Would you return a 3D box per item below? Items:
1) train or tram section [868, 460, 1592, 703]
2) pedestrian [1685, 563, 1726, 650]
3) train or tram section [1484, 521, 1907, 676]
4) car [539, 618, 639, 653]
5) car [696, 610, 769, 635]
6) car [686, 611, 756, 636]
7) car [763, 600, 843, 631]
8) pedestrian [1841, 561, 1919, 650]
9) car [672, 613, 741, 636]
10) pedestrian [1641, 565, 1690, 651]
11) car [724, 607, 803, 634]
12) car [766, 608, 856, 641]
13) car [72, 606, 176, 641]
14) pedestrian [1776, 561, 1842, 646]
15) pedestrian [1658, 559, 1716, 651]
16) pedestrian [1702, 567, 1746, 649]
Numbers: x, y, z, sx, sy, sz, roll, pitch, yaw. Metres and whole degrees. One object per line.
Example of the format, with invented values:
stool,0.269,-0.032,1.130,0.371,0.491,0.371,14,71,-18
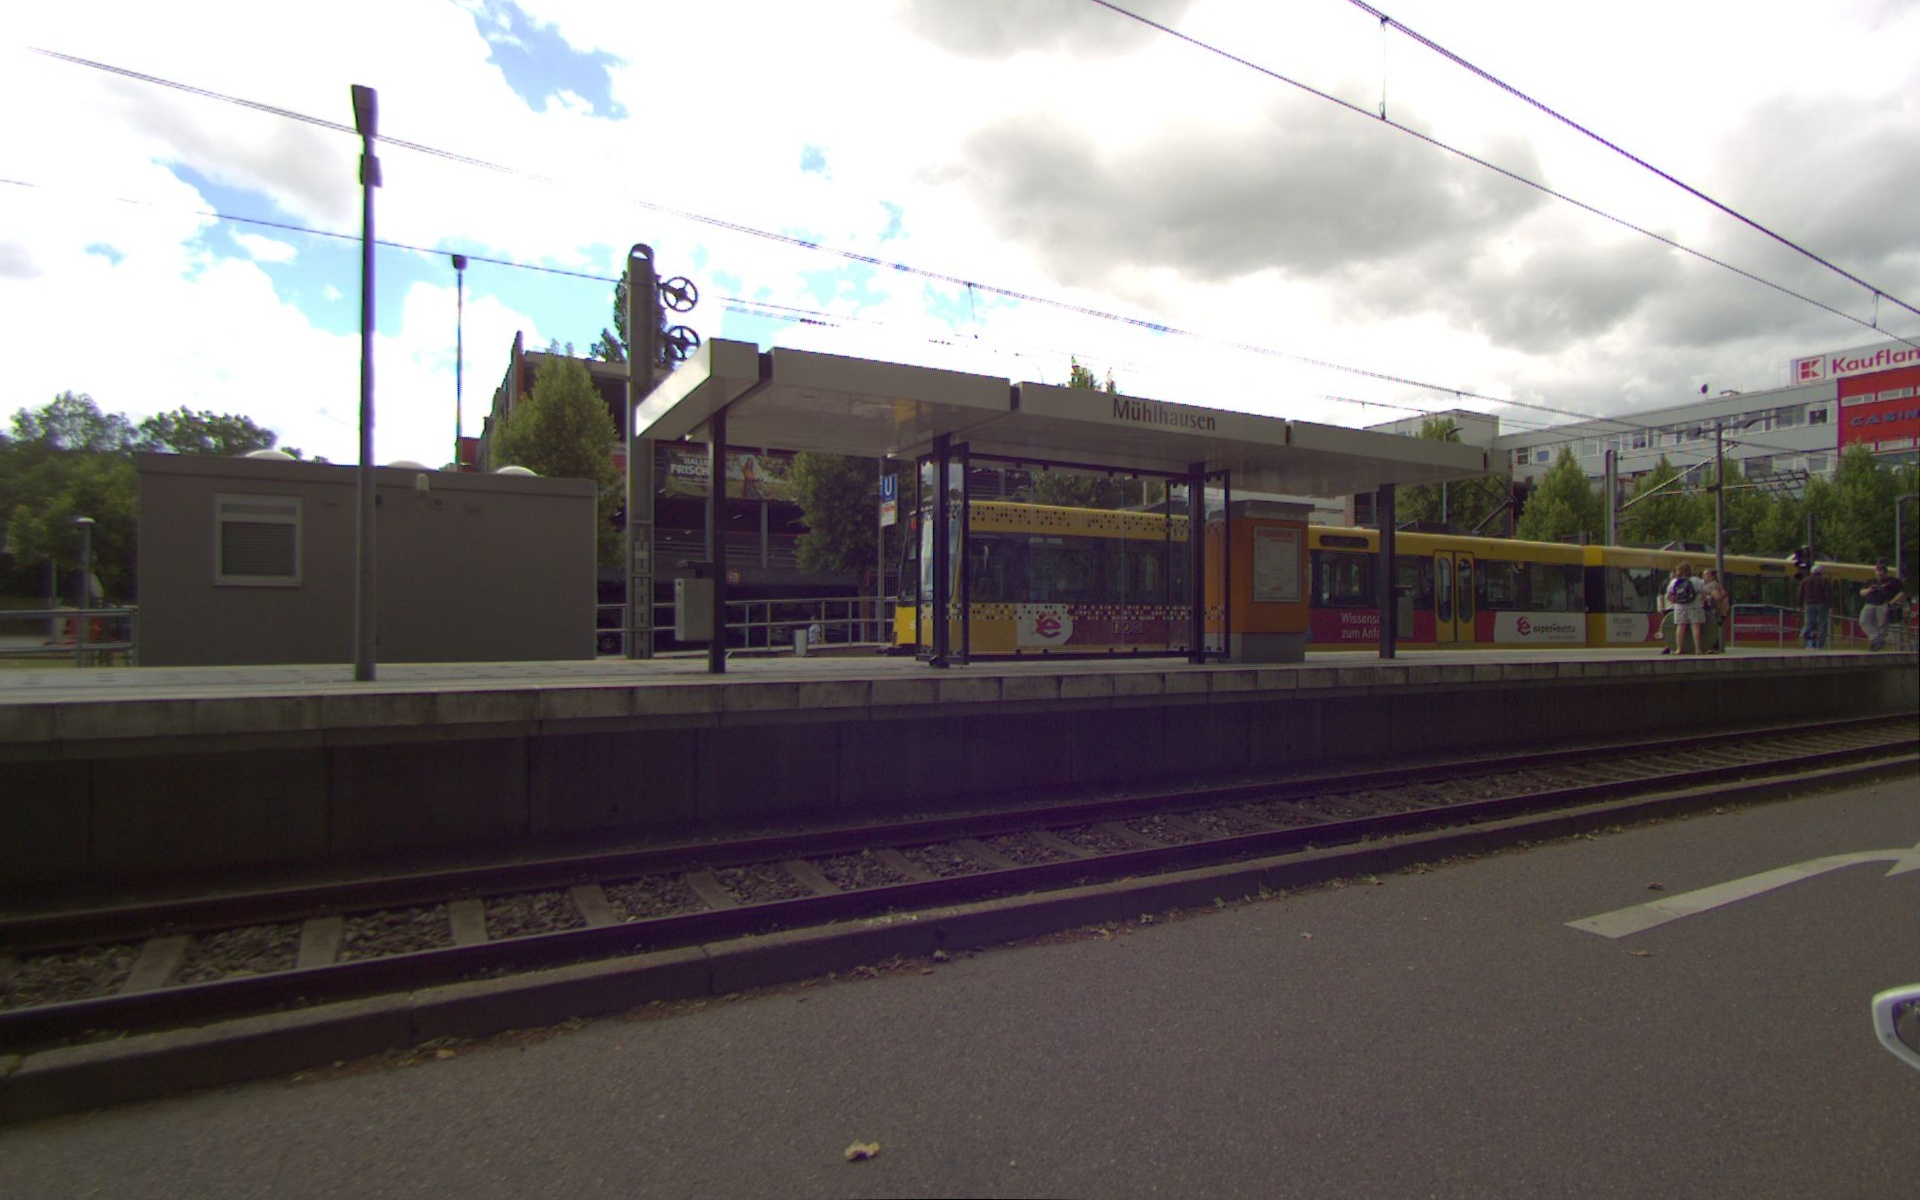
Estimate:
train or tram section,6.995,-0.088,21.856,18.401,3.933,2.746,1,-3,-29
pedestrian,12.962,0.116,17.460,0.632,1.484,0.359,1,-1,-31
train or tram section,23.137,0.224,30.708,18.400,3.878,2.746,1,-3,-29
car,-14.502,1.398,39.275,3.499,1.327,1.528,1,-3,-29
car,-13.544,1.362,59.873,3.915,1.476,1.760,1,-1,-30
car,-14.724,1.459,61.938,3.915,1.476,1.760,1,-1,-30
car,-8.189,0.838,52.452,3.818,1.490,1.589,1,-3,-30
pedestrian,17.951,0.125,19.581,0.858,1.700,0.746,-1,-2,14
car,-16.217,1.573,64.273,3.915,1.476,1.760,1,-1,-30
pedestrian,12.574,0.156,17.901,0.535,1.502,0.474,1,-2,-25
car,-10.849,1.152,55.574,3.954,1.476,1.814,1,-1,-31
car,-7.249,1.220,48.933,3.951,1.493,1.985,1,-3,-29
car,-45.014,1.299,54.208,4.013,1.775,1.900,1,-3,-31
pedestrian,17.429,0.084,20.624,0.781,1.700,0.768,1,-3,-30
pedestrian,12.111,0.096,16.755,0.570,1.502,0.521,-1,-2,8
pedestrian,13.566,0.157,17.836,0.407,1.424,0.476,1,-3,-31
